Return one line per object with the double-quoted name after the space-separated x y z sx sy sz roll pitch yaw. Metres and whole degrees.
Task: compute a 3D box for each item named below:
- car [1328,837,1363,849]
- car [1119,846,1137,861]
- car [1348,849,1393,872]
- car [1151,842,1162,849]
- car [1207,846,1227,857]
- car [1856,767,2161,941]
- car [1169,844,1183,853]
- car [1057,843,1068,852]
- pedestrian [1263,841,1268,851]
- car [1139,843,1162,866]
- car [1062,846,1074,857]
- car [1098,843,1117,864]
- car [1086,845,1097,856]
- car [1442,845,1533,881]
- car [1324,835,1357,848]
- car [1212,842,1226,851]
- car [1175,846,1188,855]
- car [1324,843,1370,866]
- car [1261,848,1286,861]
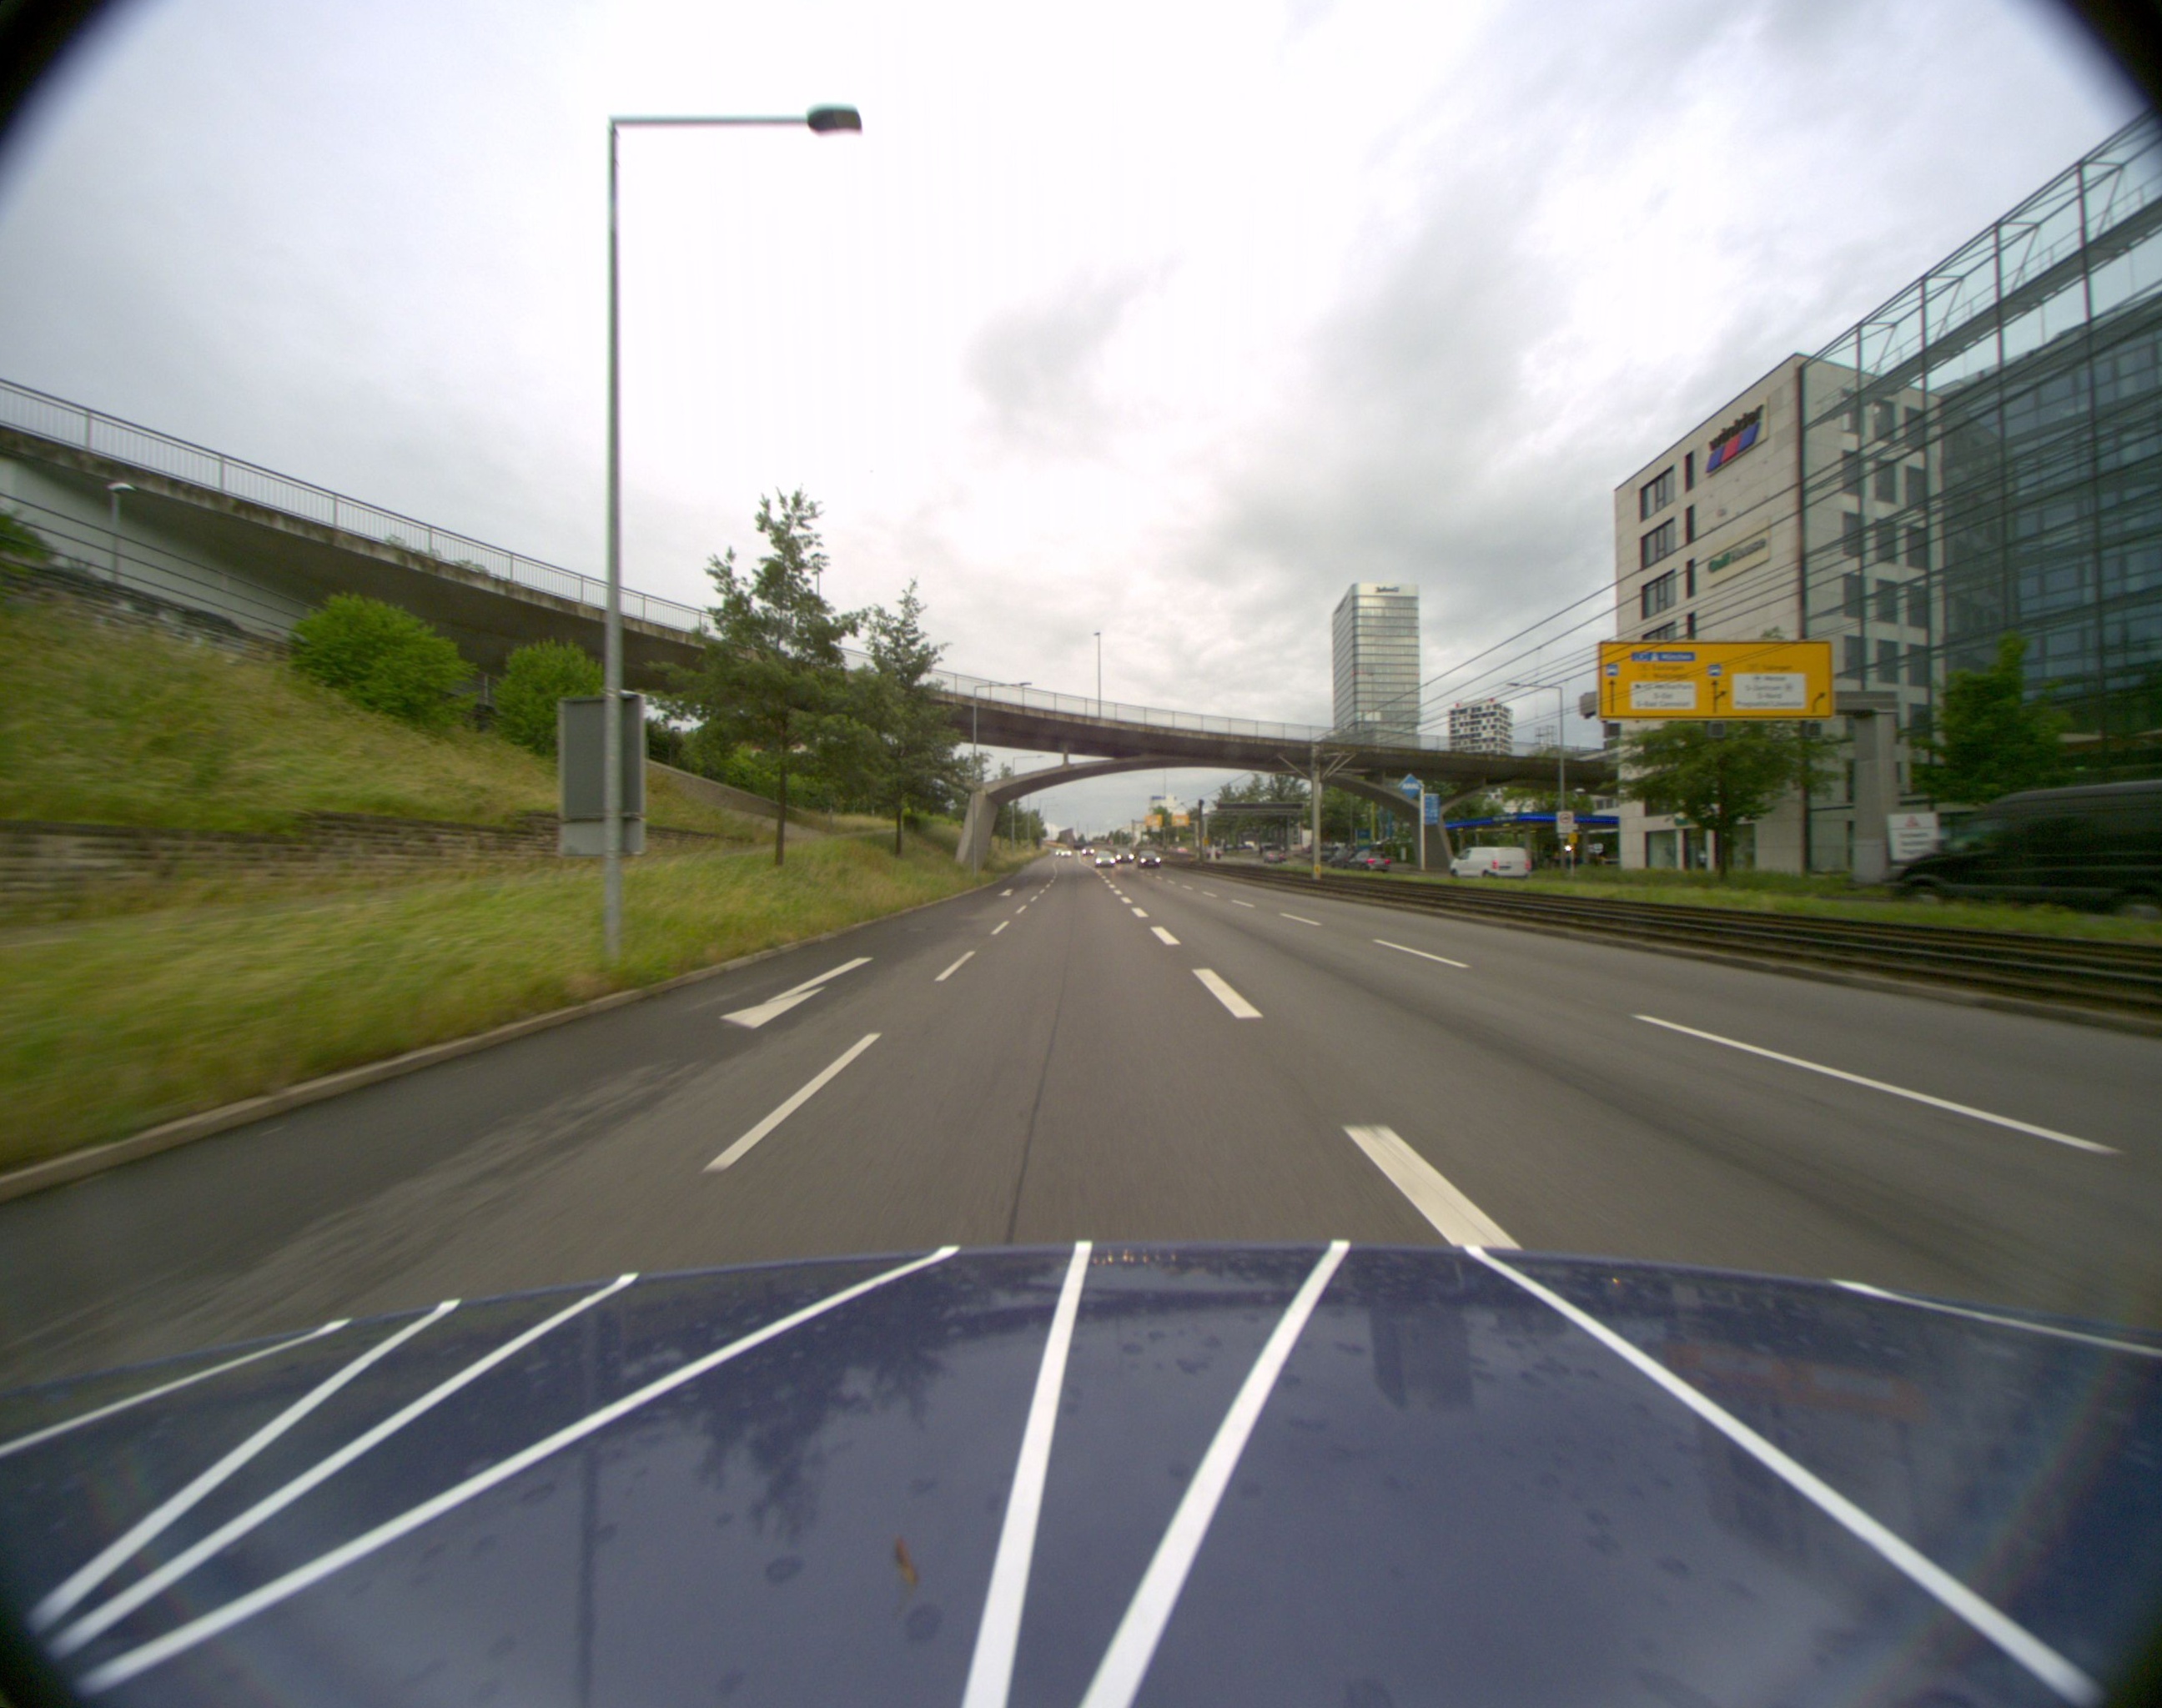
38.428 -1.623 110.415 4.363 1.495 1.885 -2 2 3 "car"
5.180 -0.070 84.287 1.794 1.536 4.376 -2 2 2 "car"
22.120 0.466 58.225 1.814 1.597 4.491 -2 0 1 "car"
18.827 -2.174 190.221 2.052 1.530 4.758 -2 0 -2 "car"
19.190 -0.340 107.587 1.814 1.524 4.868 -2 0 -1 "car"
18.523 -0.059 14.161 2.389 2.801 5.610 -2 1 0 "car"
18.983 -1.079 151.555 1.926 1.766 4.223 -2 0 -3 "car"
-3.707 -1.217 151.467 1.794 1.622 4.376 -2 2 2 "car"
33.719 -1.510 138.833 0.688 1.786 0.636 -2 2 1 "pedestrian"
6.112 -0.016 67.081 1.794 1.858 4.376 -2 2 2 "car"
-2.170 -0.414 130.905 1.794 1.622 4.376 -2 2 2 "car"
2.573 -0.089 73.336 1.794 1.858 4.376 -2 2 2 "car"
1.859 -0.679 134.730 1.794 1.858 4.376 -2 2 2 "car"
21.538 0.428 40.495 1.943 1.751 5.060 -2 0 -2 "car"
38.424 -1.858 112.544 4.196 1.762 1.885 -2 2 3 "car"
25.426 -1.362 140.254 1.925 1.488 4.657 2 0 2 "car"
18.207 -0.597 137.726 1.768 1.588 4.792 -2 0 1 "car"
24.732 0.028 70.865 2.065 1.941 5.130 -2 0 -5 "car"
22.941 0.043 90.580 1.814 1.524 4.274 -2 0 -1 "car"
